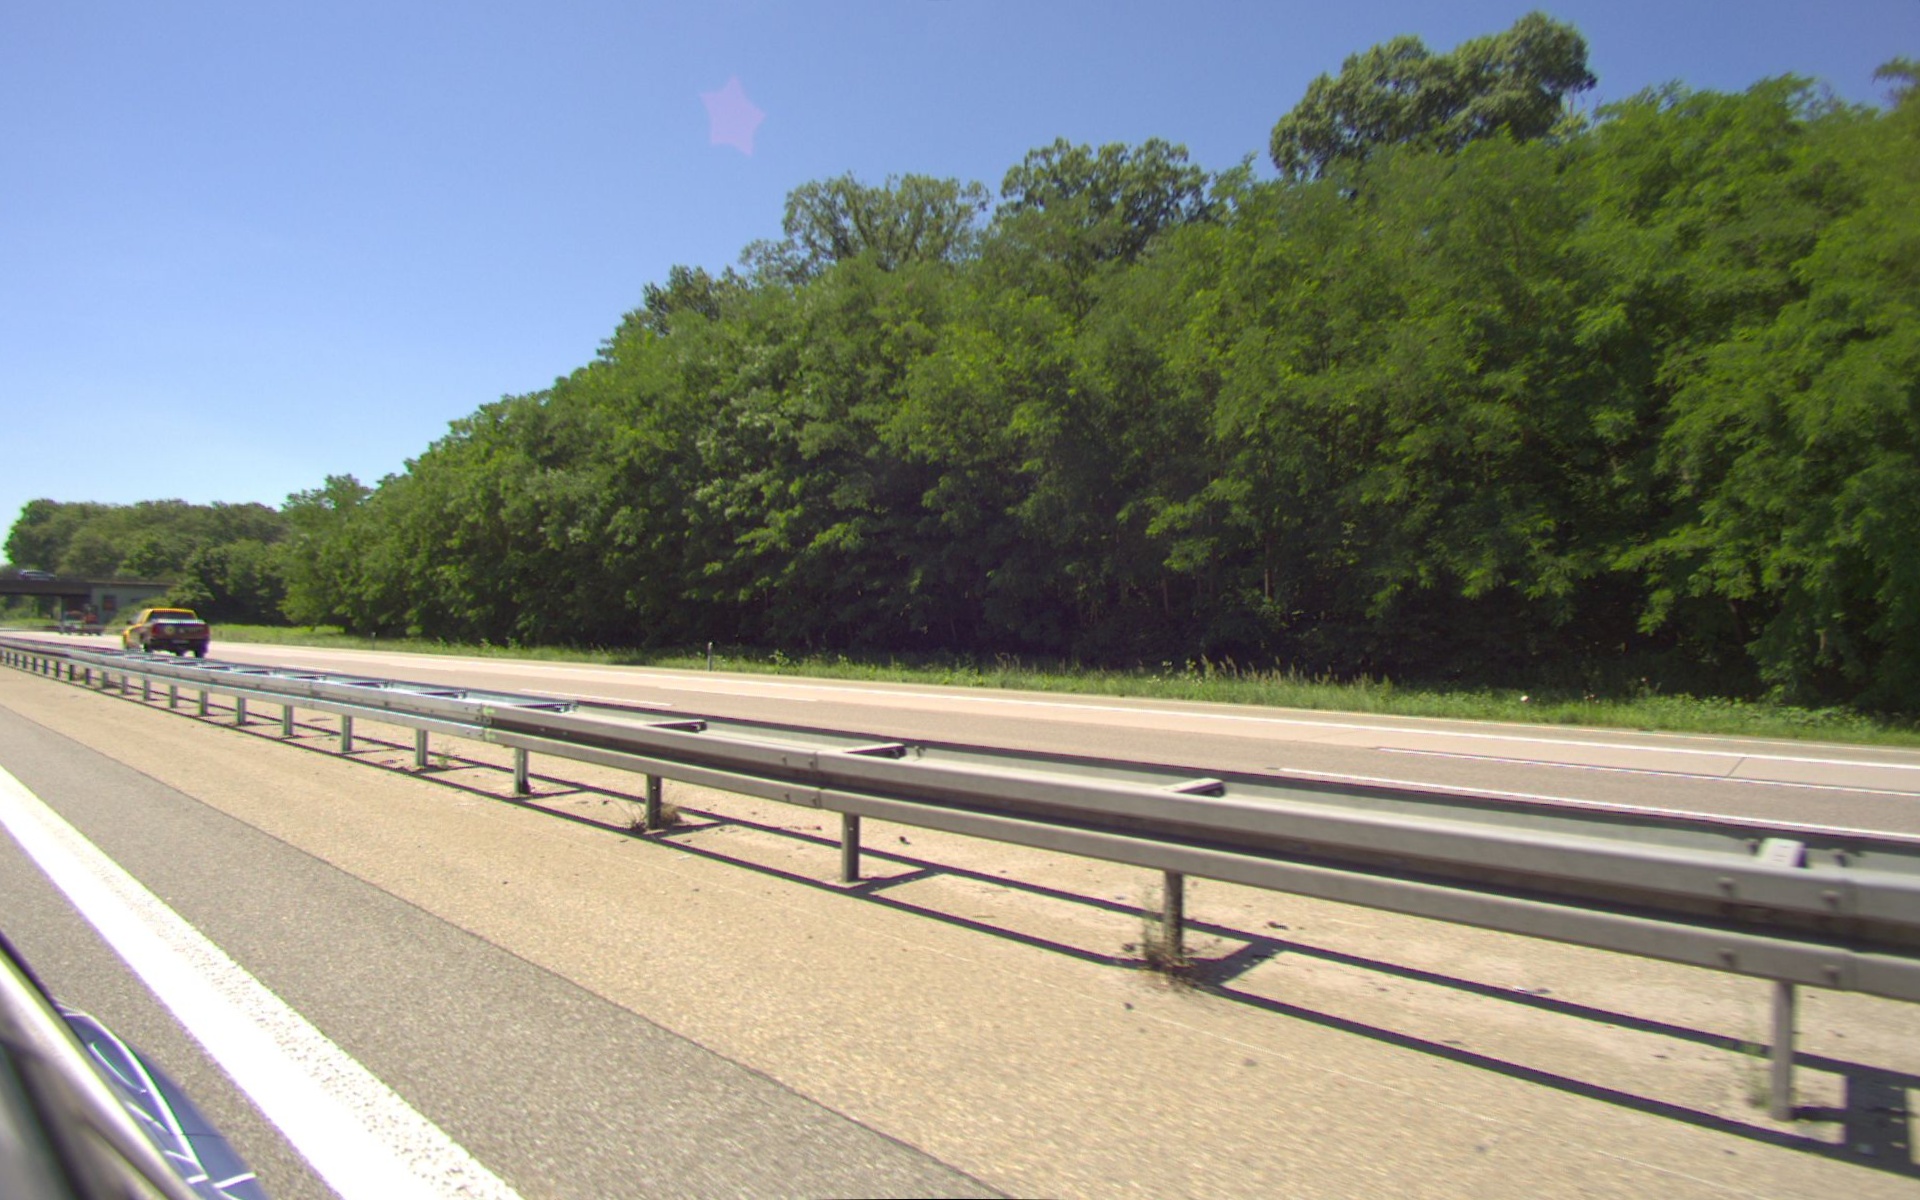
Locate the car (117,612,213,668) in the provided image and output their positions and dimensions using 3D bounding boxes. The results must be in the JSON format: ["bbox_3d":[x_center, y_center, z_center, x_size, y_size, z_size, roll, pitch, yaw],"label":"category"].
[{"bbox_3d":[-30.448,1.471,38.682,5.209,1.979,1.973,-1,0,41],"label":"car"}]

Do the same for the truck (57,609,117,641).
[{"bbox_3d":[-88.003,2.507,101.887,12.849,3.013,2.724,-1,-3,41],"label":"truck"}]
